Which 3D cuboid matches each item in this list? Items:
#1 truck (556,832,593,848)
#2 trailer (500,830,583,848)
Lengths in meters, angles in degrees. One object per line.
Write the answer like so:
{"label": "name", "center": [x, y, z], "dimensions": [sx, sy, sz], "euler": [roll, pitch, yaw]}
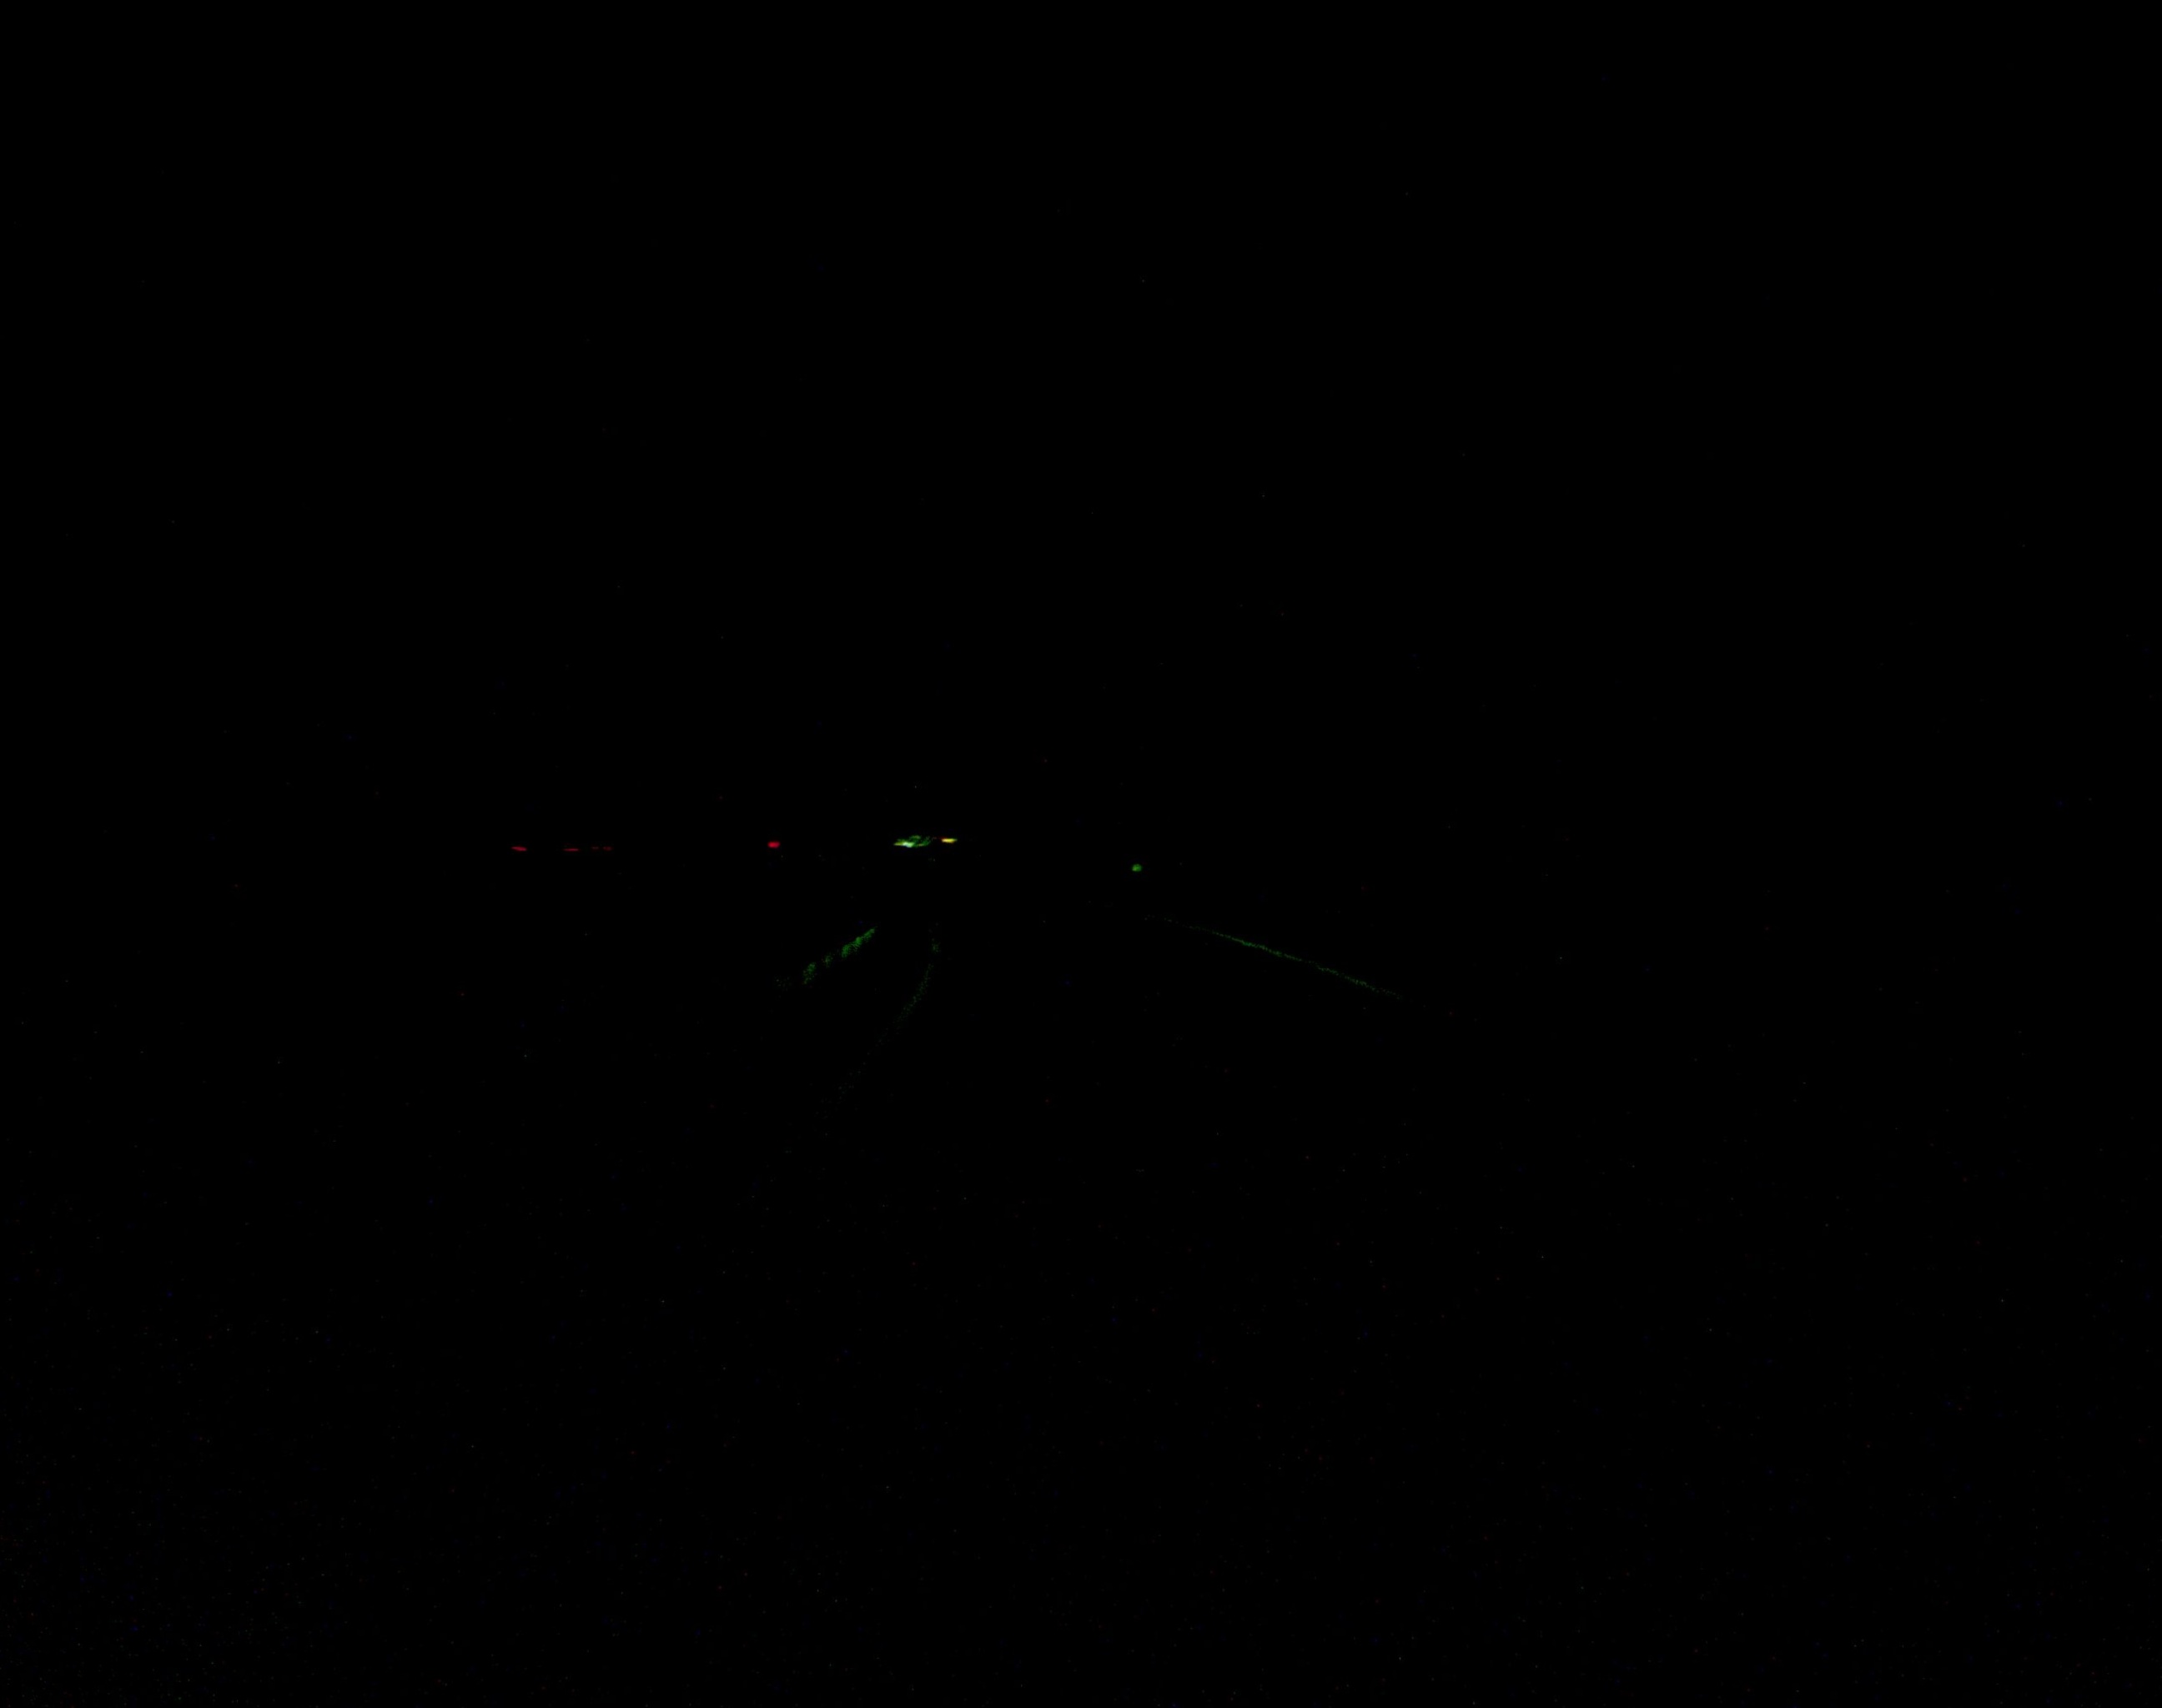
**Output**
{"label": "truck", "center": [-85.412, -2.341, 137.476], "dimensions": [2.658, 2.690, 4.774], "euler": [2, 1, 13]}
{"label": "trailer", "center": [-86.769, -2.308, 131.474], "dimensions": [2.669, 2.699, 12.903], "euler": [2, 1, 13]}
